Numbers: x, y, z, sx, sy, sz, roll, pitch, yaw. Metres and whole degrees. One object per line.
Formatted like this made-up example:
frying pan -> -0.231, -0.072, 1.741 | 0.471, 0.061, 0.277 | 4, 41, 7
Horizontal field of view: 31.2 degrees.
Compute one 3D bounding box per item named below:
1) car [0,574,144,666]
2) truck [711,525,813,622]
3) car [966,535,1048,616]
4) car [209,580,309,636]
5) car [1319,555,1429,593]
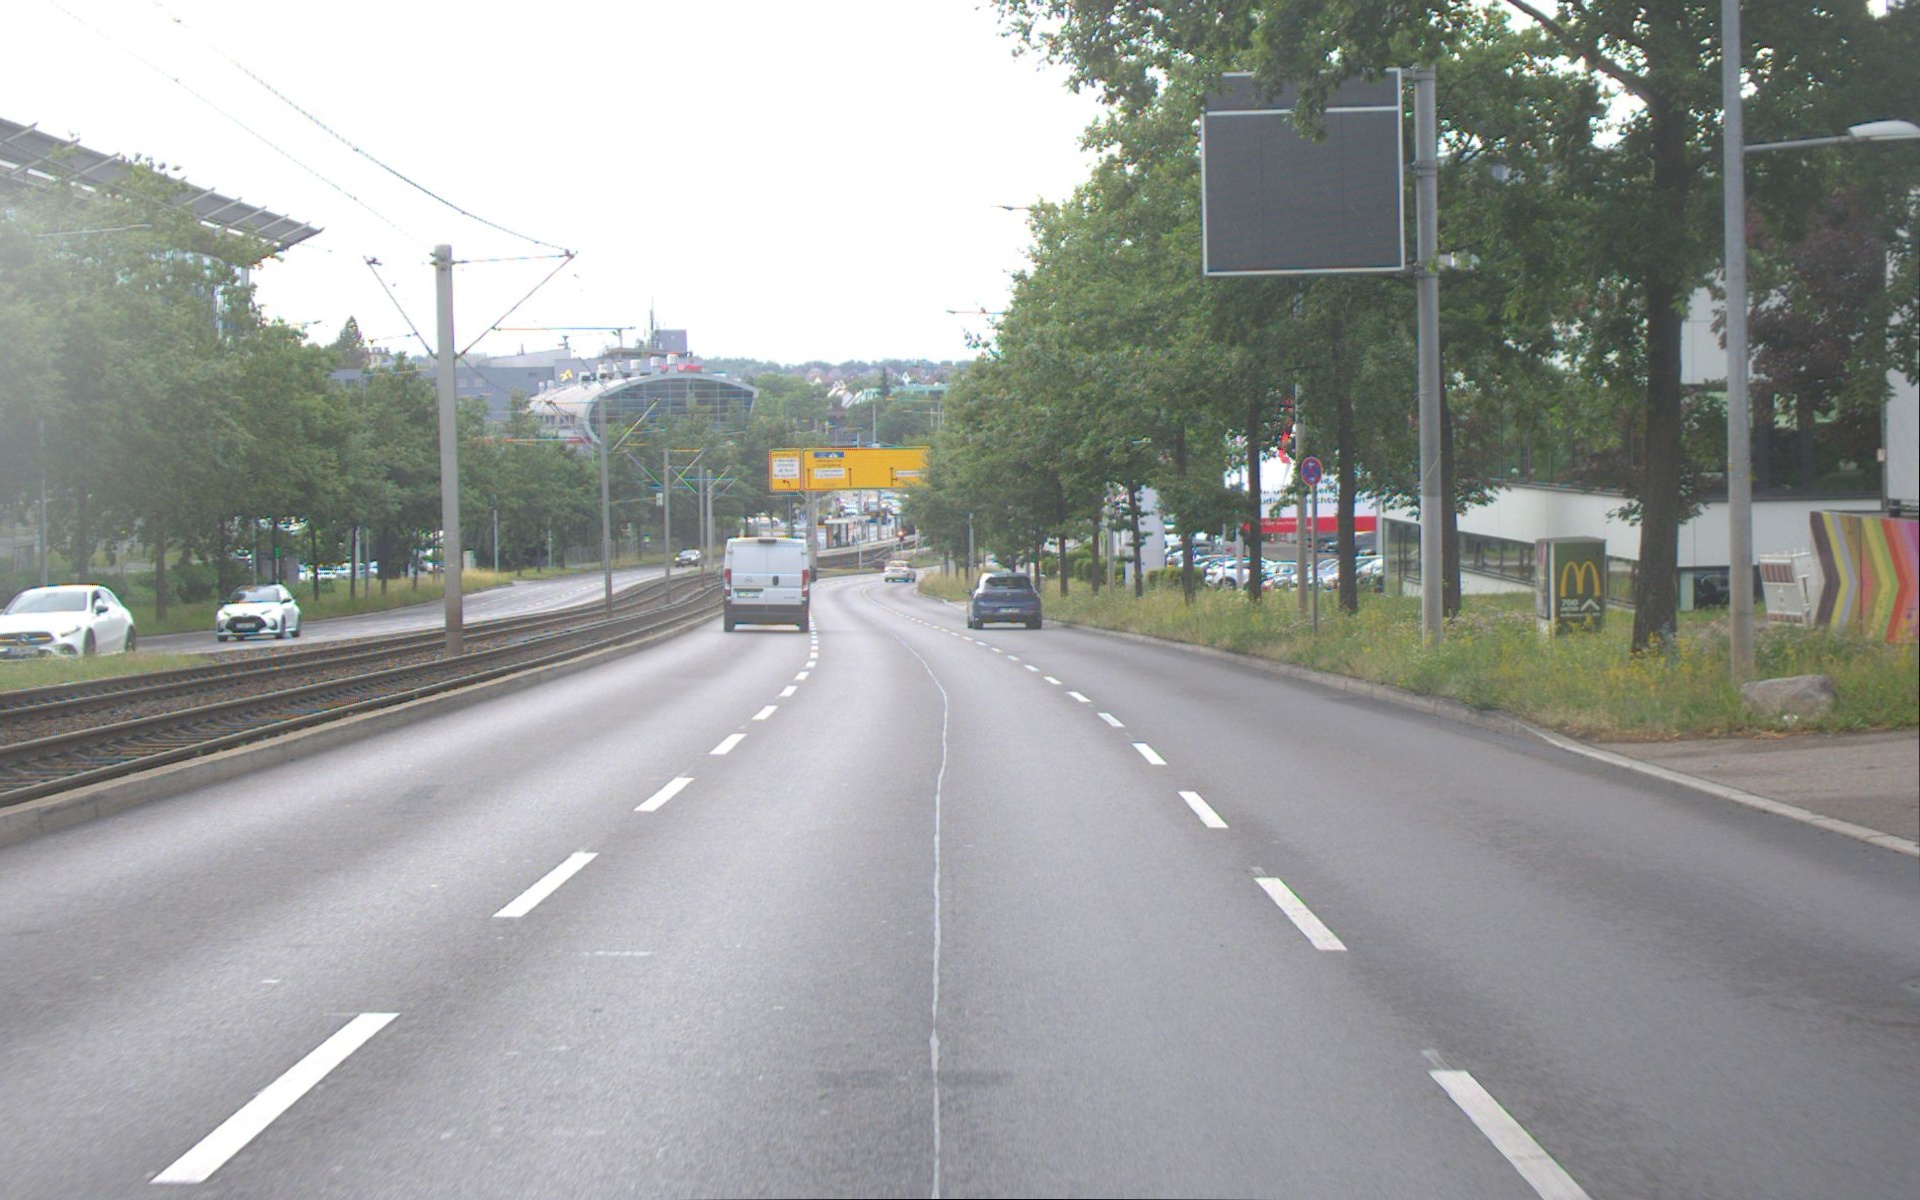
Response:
car -> -15.672, 0.324, 59.872 | 1.837, 1.439, 4.429 | -2, 1, 0
truck -> -4.759, -0.644, 83.175 | 2.360, 2.254, 5.306 | 1, 0, -3
car -> 1.186, -0.637, 88.549 | 1.993, 2.007, 3.934 | 1, 0, -1
car -> -18.855, 0.197, 92.630 | 1.880, 1.442, 4.138 | -1, 1, -1
car -> 15.599, -0.987, 129.688 | 3.987, 1.349, 2.000 | 1, 0, 3
